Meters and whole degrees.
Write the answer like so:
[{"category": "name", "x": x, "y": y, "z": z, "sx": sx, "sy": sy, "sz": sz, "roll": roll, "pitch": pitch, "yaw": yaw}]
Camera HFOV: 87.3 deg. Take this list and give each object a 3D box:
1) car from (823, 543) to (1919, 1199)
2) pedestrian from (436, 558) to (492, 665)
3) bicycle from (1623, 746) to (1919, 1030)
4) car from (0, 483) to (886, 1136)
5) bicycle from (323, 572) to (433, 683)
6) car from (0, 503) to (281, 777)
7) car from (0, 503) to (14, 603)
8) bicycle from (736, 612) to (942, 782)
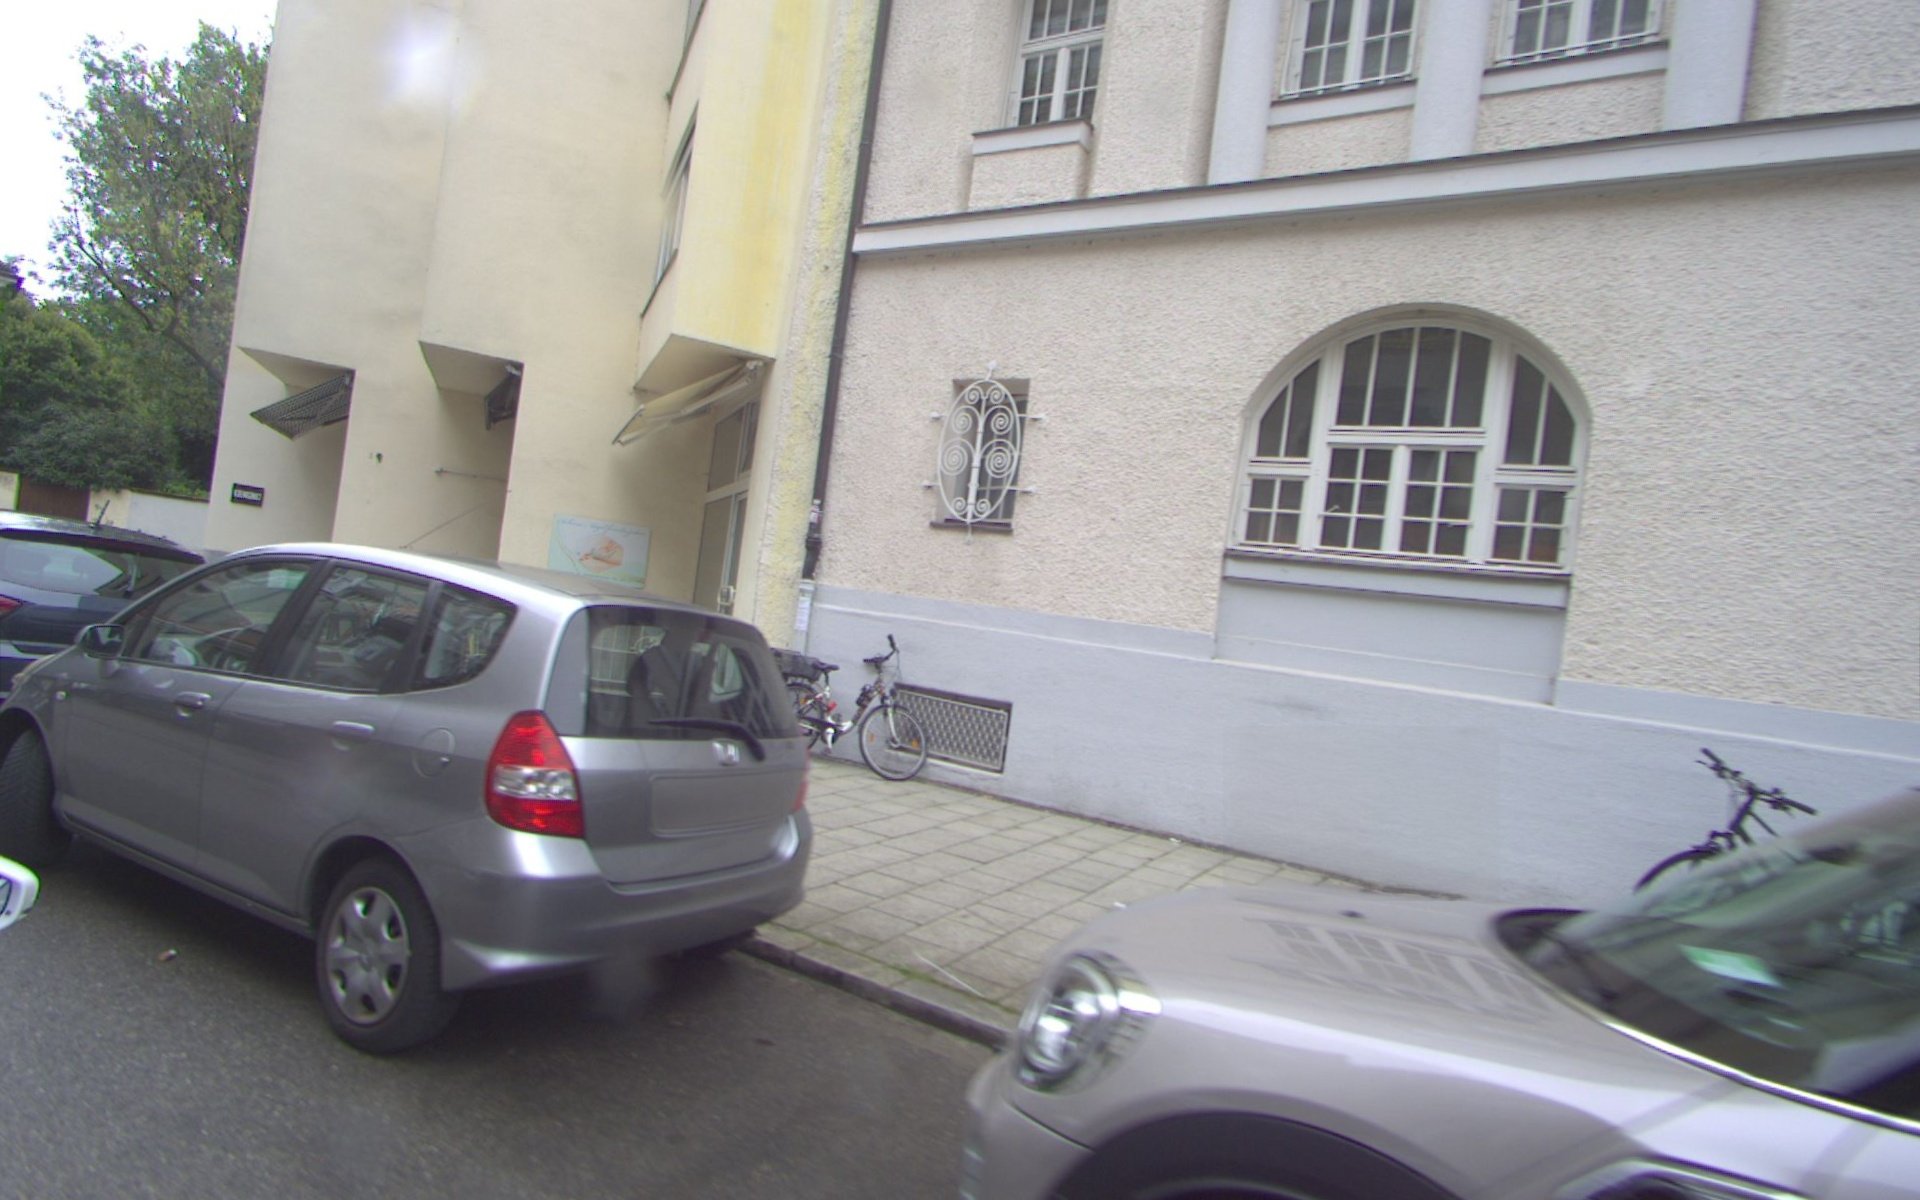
[{"category": "car", "x": 1.872, "y": 0.980, "z": 1.552, "sx": 3.901, "sy": 1.610, "sz": 1.638, "roll": 7, "pitch": -2, "yaw": 30}, {"category": "pedestrian", "x": -7.002, "y": 0.154, "z": 14.216, "sx": 0.526, "sy": 1.415, "sz": 0.669, "roll": 8, "pitch": -1, "yaw": -26}, {"category": "bicycle", "x": 4.585, "y": 1.496, "z": 5.226, "sx": 1.757, "sy": 1.164, "sz": 0.482, "roll": 7, "pitch": -1, "yaw": 29}, {"category": "car", "x": -2.435, "y": 0.521, "z": 4.271, "sx": 3.788, "sy": 1.554, "sz": 1.639, "roll": 7, "pitch": -2, "yaw": 27}, {"category": "bicycle", "x": -6.381, "y": 0.268, "z": 11.118, "sx": 0.743, "sy": 1.045, "sz": 1.789, "roll": 6, "pitch": 0, "yaw": -23}, {"category": "car", "x": -6.571, "y": 0.088, "z": 6.887, "sx": 3.791, "sy": 1.488, "sz": 1.637, "roll": 7, "pitch": -2, "yaw": 31}, {"category": "car", "x": -11.163, "y": -0.463, "z": 9.627, "sx": 4.532, "sy": 1.488, "sz": 1.697, "roll": 7, "pitch": -2, "yaw": 29}, {"category": "bicycle", "x": -1.080, "y": 0.813, "z": 8.862, "sx": 1.647, "sy": 1.208, "sz": 0.564, "roll": 7, "pitch": 2, "yaw": 27}]
